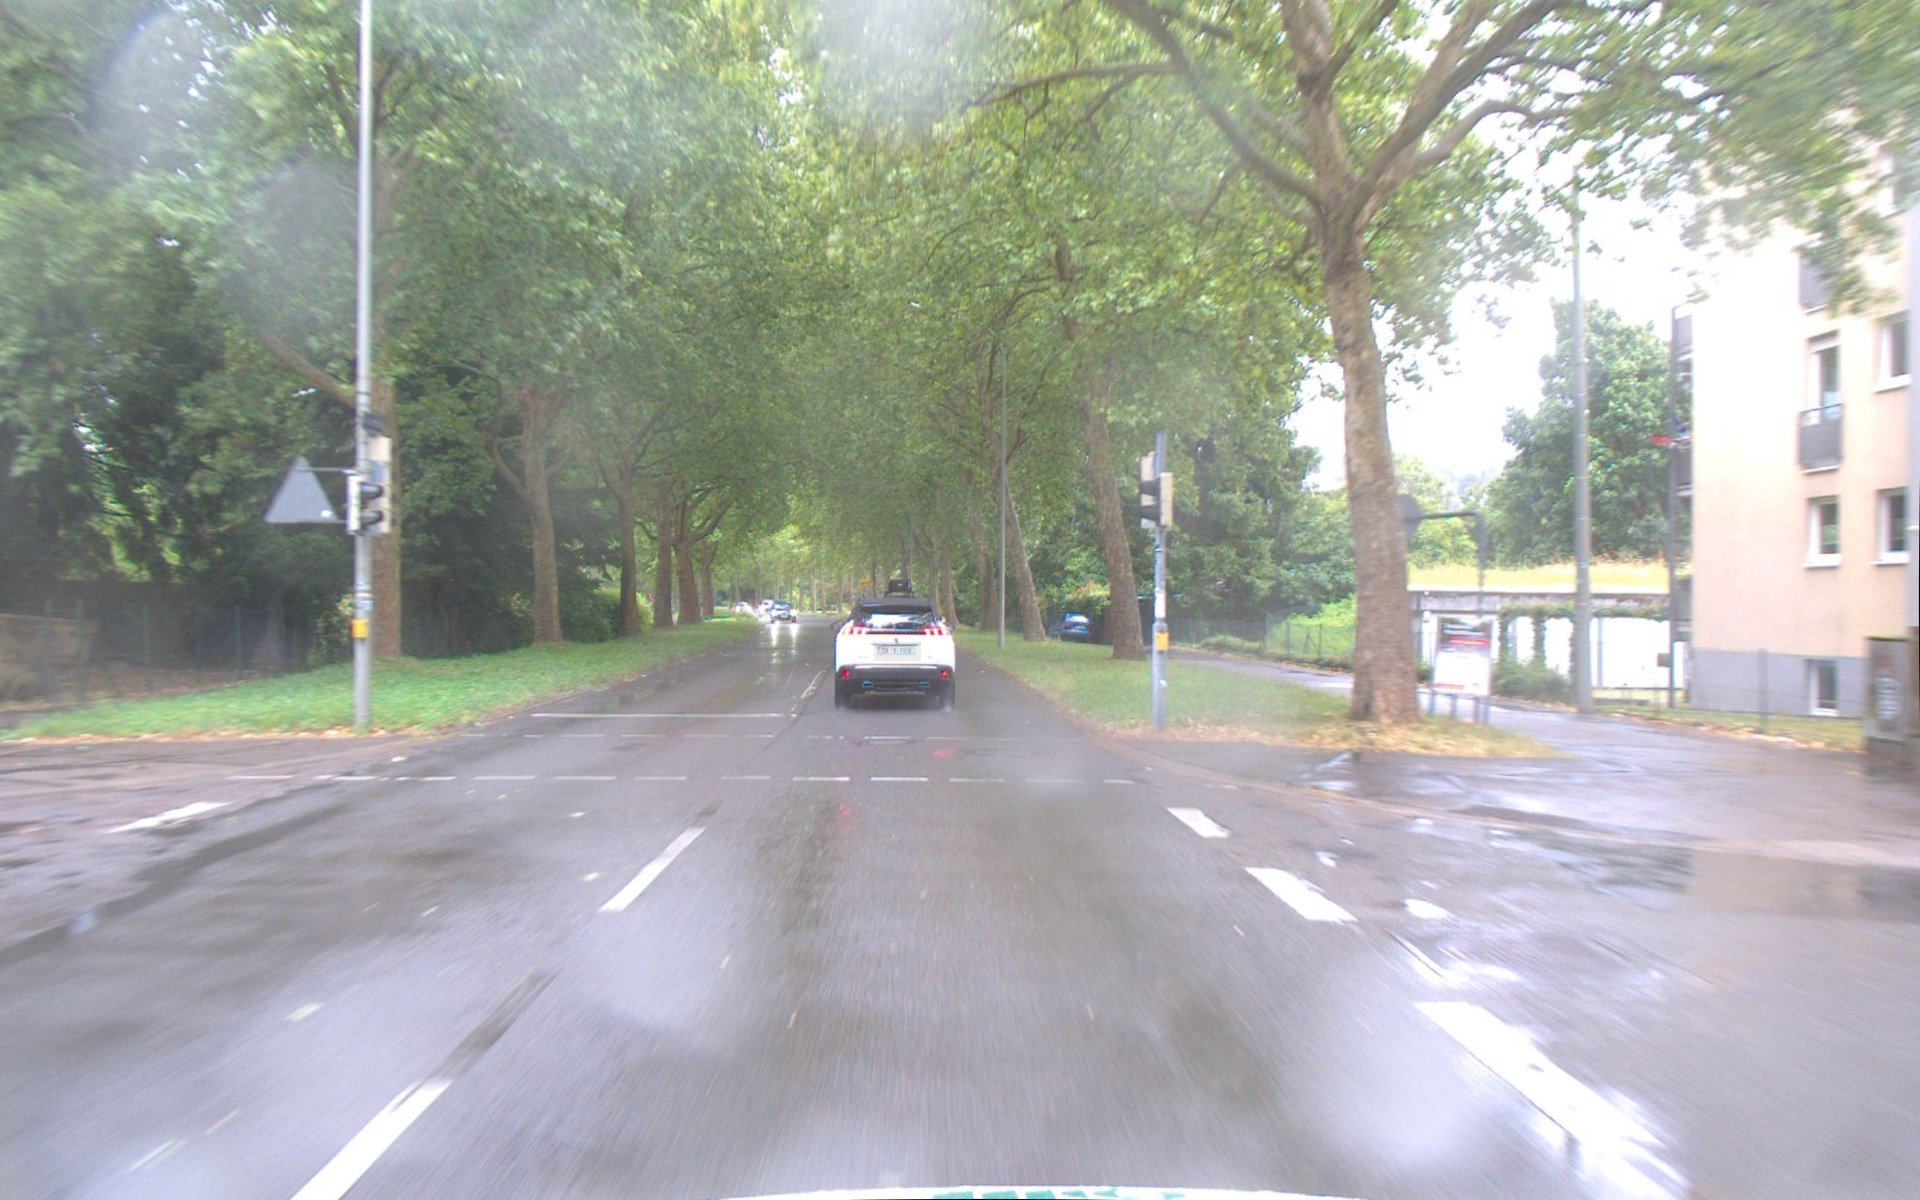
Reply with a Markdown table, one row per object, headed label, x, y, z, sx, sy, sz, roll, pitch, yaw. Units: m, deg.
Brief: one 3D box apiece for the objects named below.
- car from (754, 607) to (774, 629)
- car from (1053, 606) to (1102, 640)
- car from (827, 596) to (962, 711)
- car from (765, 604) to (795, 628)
| label | x | y | z | sx | sy | sz | roll | pitch | yaw |
| --- | --- | --- | --- | --- | --- | --- | --- | --- | --- |
| car | -18.740 | 1.726 | 158.273 | 1.707 | 2.049 | 3.661 | 0 | -1 | -4 |
| car | 5.527 | 1.068 | 78.251 | 1.867 | 1.536 | 3.929 | 0 | -1 | -2 |
| car | -1.064 | 0.745 | 24.851 | 1.746 | 1.563 | 4.052 | 1 | 0 | -6 |
| car | -12.842 | 1.138 | 118.254 | 1.836 | 1.706 | 3.706 | 0 | -1 | -2 |
